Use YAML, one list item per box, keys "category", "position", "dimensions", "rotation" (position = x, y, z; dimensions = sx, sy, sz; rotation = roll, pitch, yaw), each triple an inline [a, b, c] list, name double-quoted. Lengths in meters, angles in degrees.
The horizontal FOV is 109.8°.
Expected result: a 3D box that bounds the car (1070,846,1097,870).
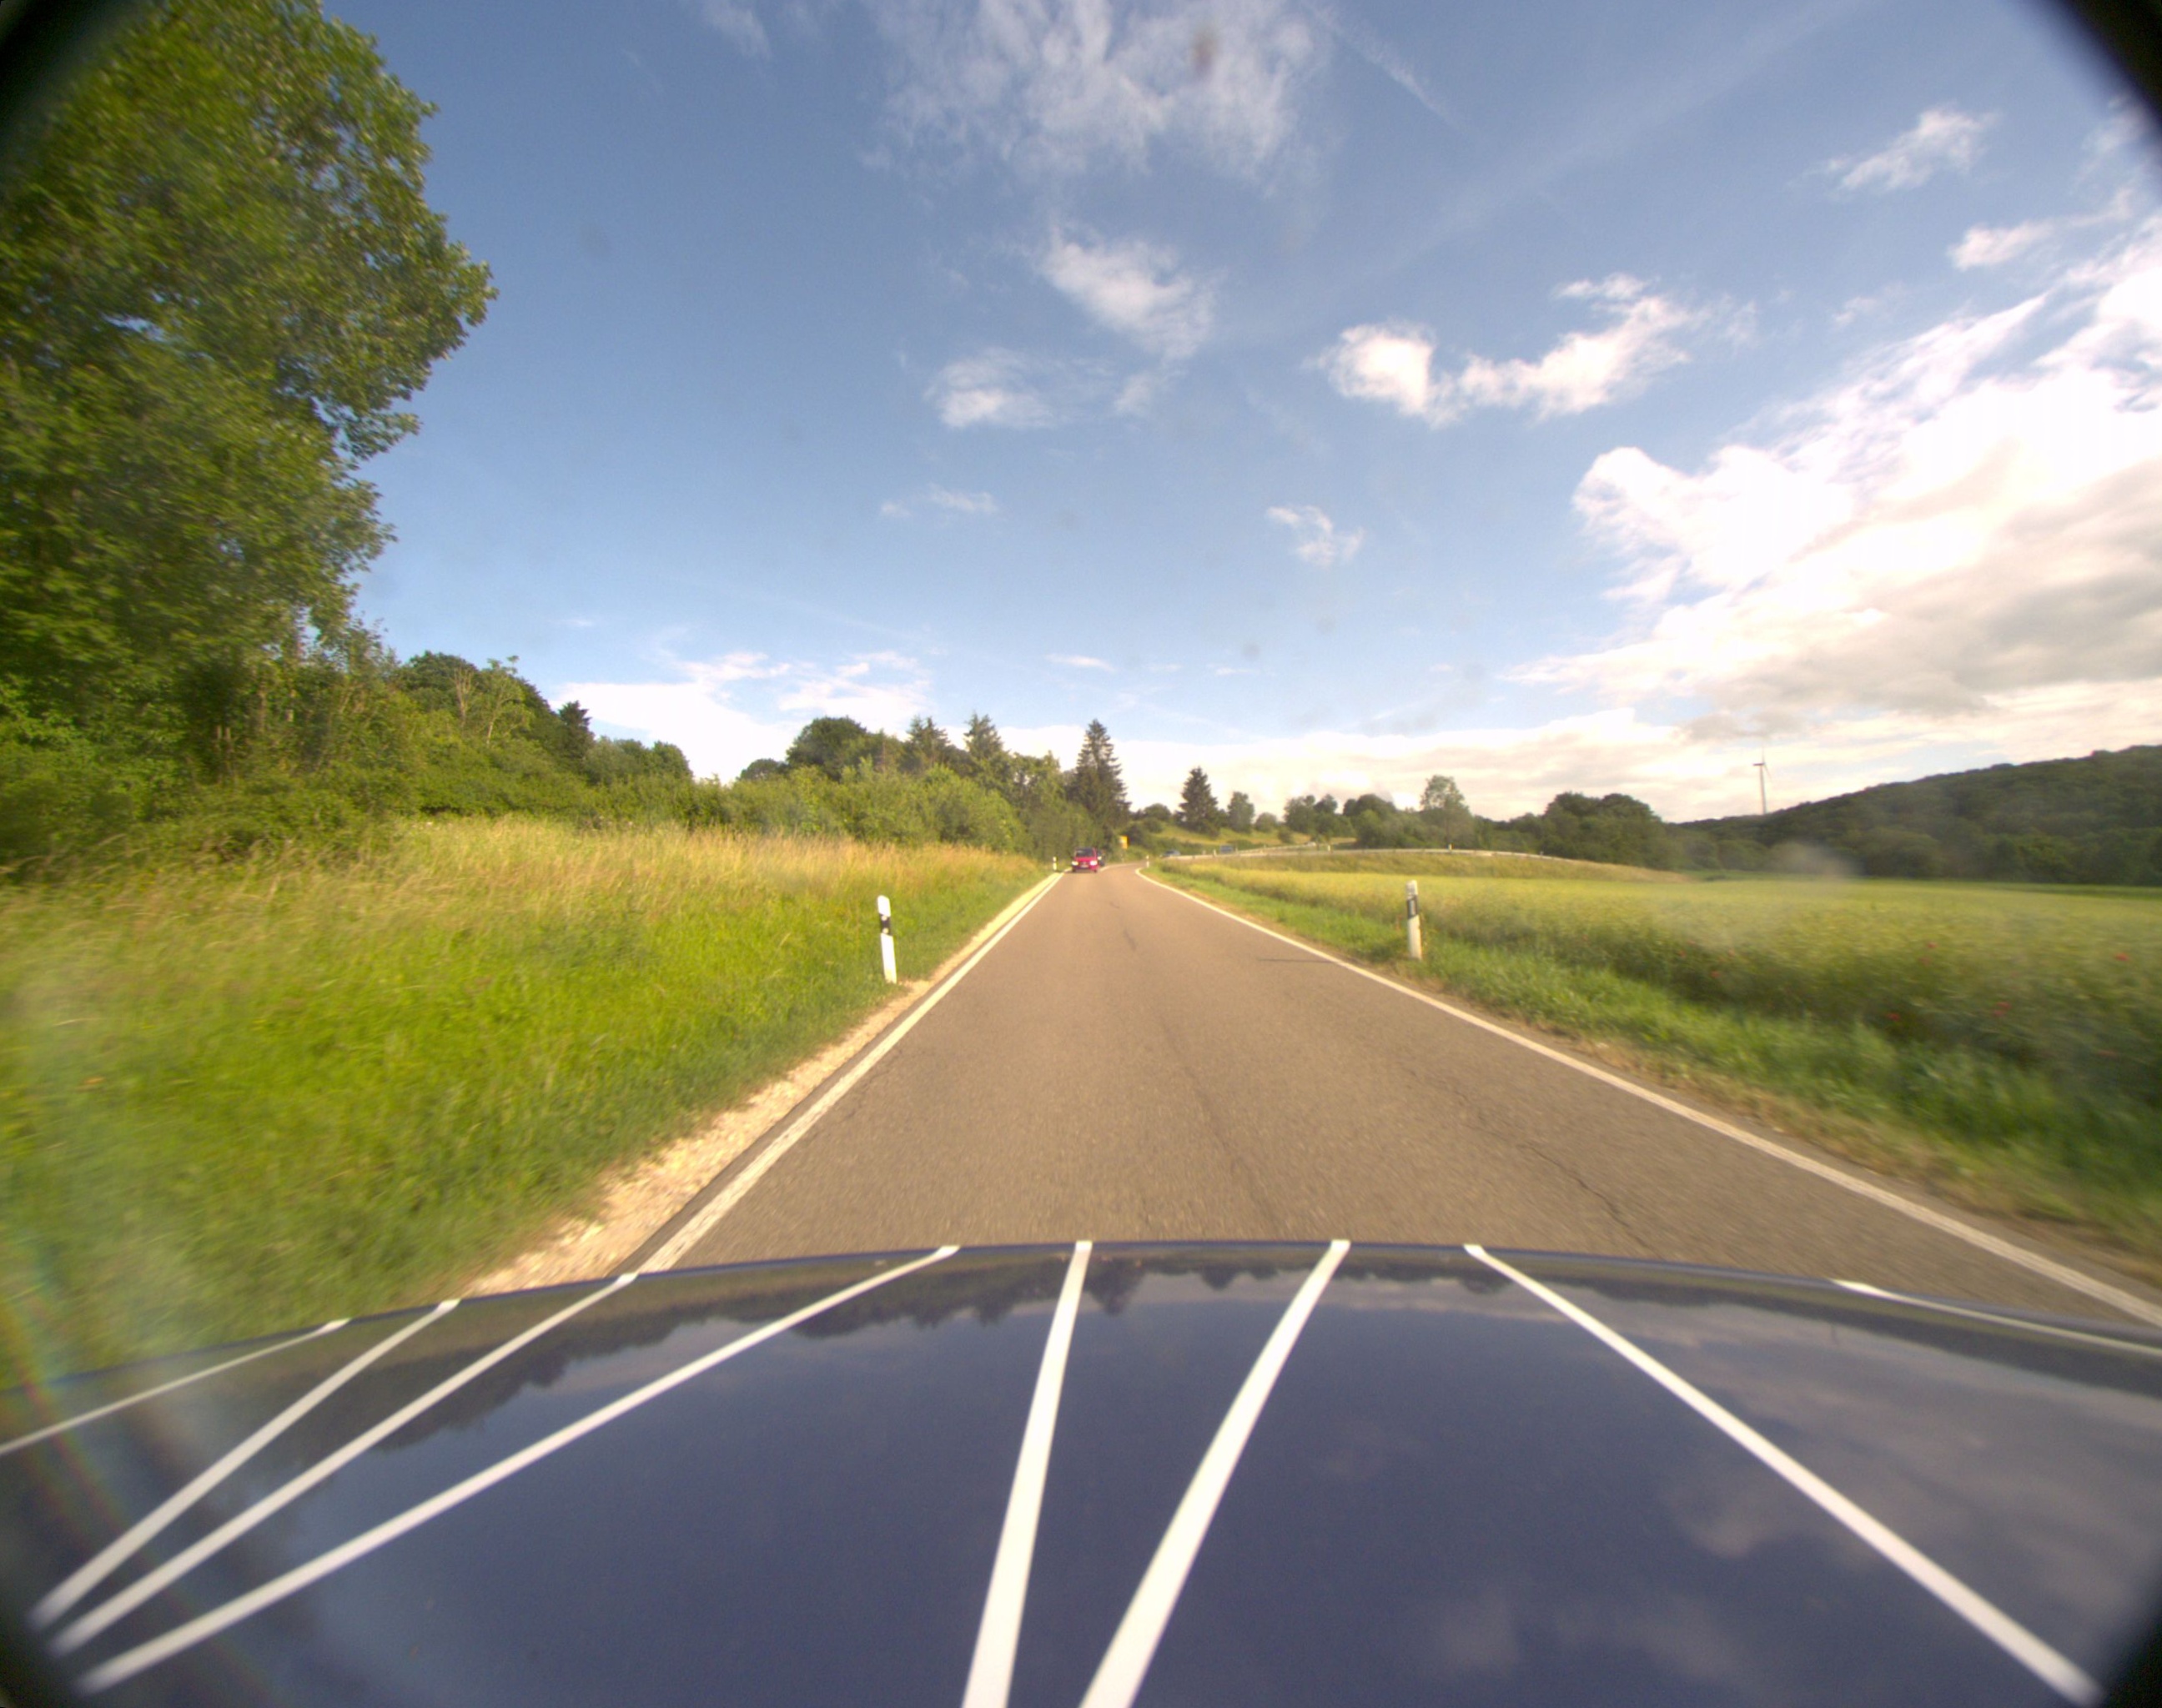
- category: "car"
  position: [0.196, 0.268, 54.147]
  dimensions: [1.821, 1.645, 4.000]
  rotation: [1, 0, 0]
